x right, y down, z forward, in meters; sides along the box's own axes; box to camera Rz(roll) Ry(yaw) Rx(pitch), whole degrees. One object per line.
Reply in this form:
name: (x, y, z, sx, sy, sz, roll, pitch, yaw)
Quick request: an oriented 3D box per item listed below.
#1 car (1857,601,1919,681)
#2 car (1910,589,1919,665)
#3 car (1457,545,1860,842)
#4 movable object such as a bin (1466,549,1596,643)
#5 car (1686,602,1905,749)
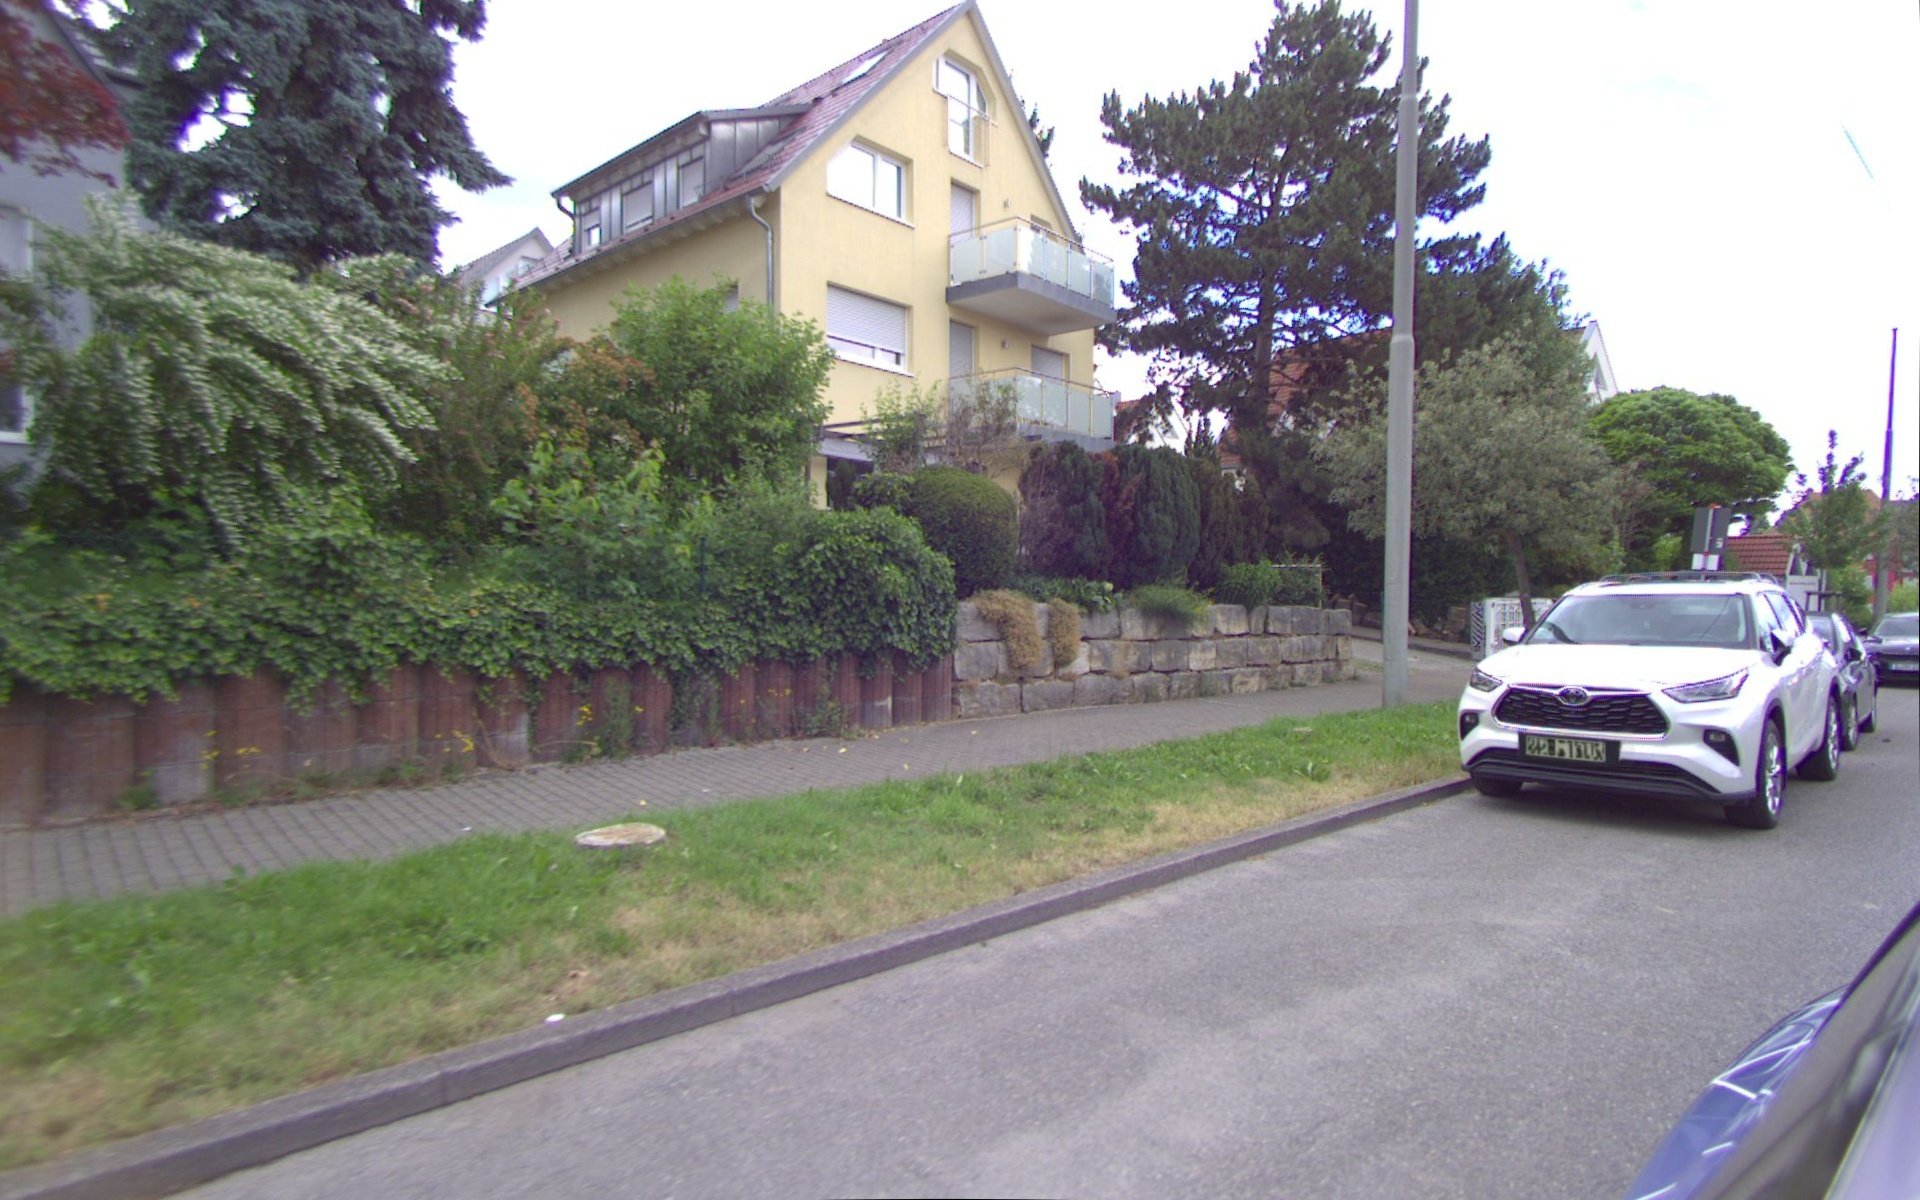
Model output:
car: (19.430, 0.766, 20.064, 4.469, 1.475, 1.833, 0, -1, -40)
car: (24.041, 0.632, 23.842, 4.467, 1.733, 1.834, 0, 0, -39)
car: (5.983, 0.575, 8.407, 4.625, 1.801, 1.801, 0, -1, -43)
movable object such as a bin: (13.162, -0.077, 23.365, 1.321, 2.039, 2.312, 0, -1, -43)
car: (9.850, 0.759, 11.851, 3.448, 1.461, 1.559, 0, -1, -43)
